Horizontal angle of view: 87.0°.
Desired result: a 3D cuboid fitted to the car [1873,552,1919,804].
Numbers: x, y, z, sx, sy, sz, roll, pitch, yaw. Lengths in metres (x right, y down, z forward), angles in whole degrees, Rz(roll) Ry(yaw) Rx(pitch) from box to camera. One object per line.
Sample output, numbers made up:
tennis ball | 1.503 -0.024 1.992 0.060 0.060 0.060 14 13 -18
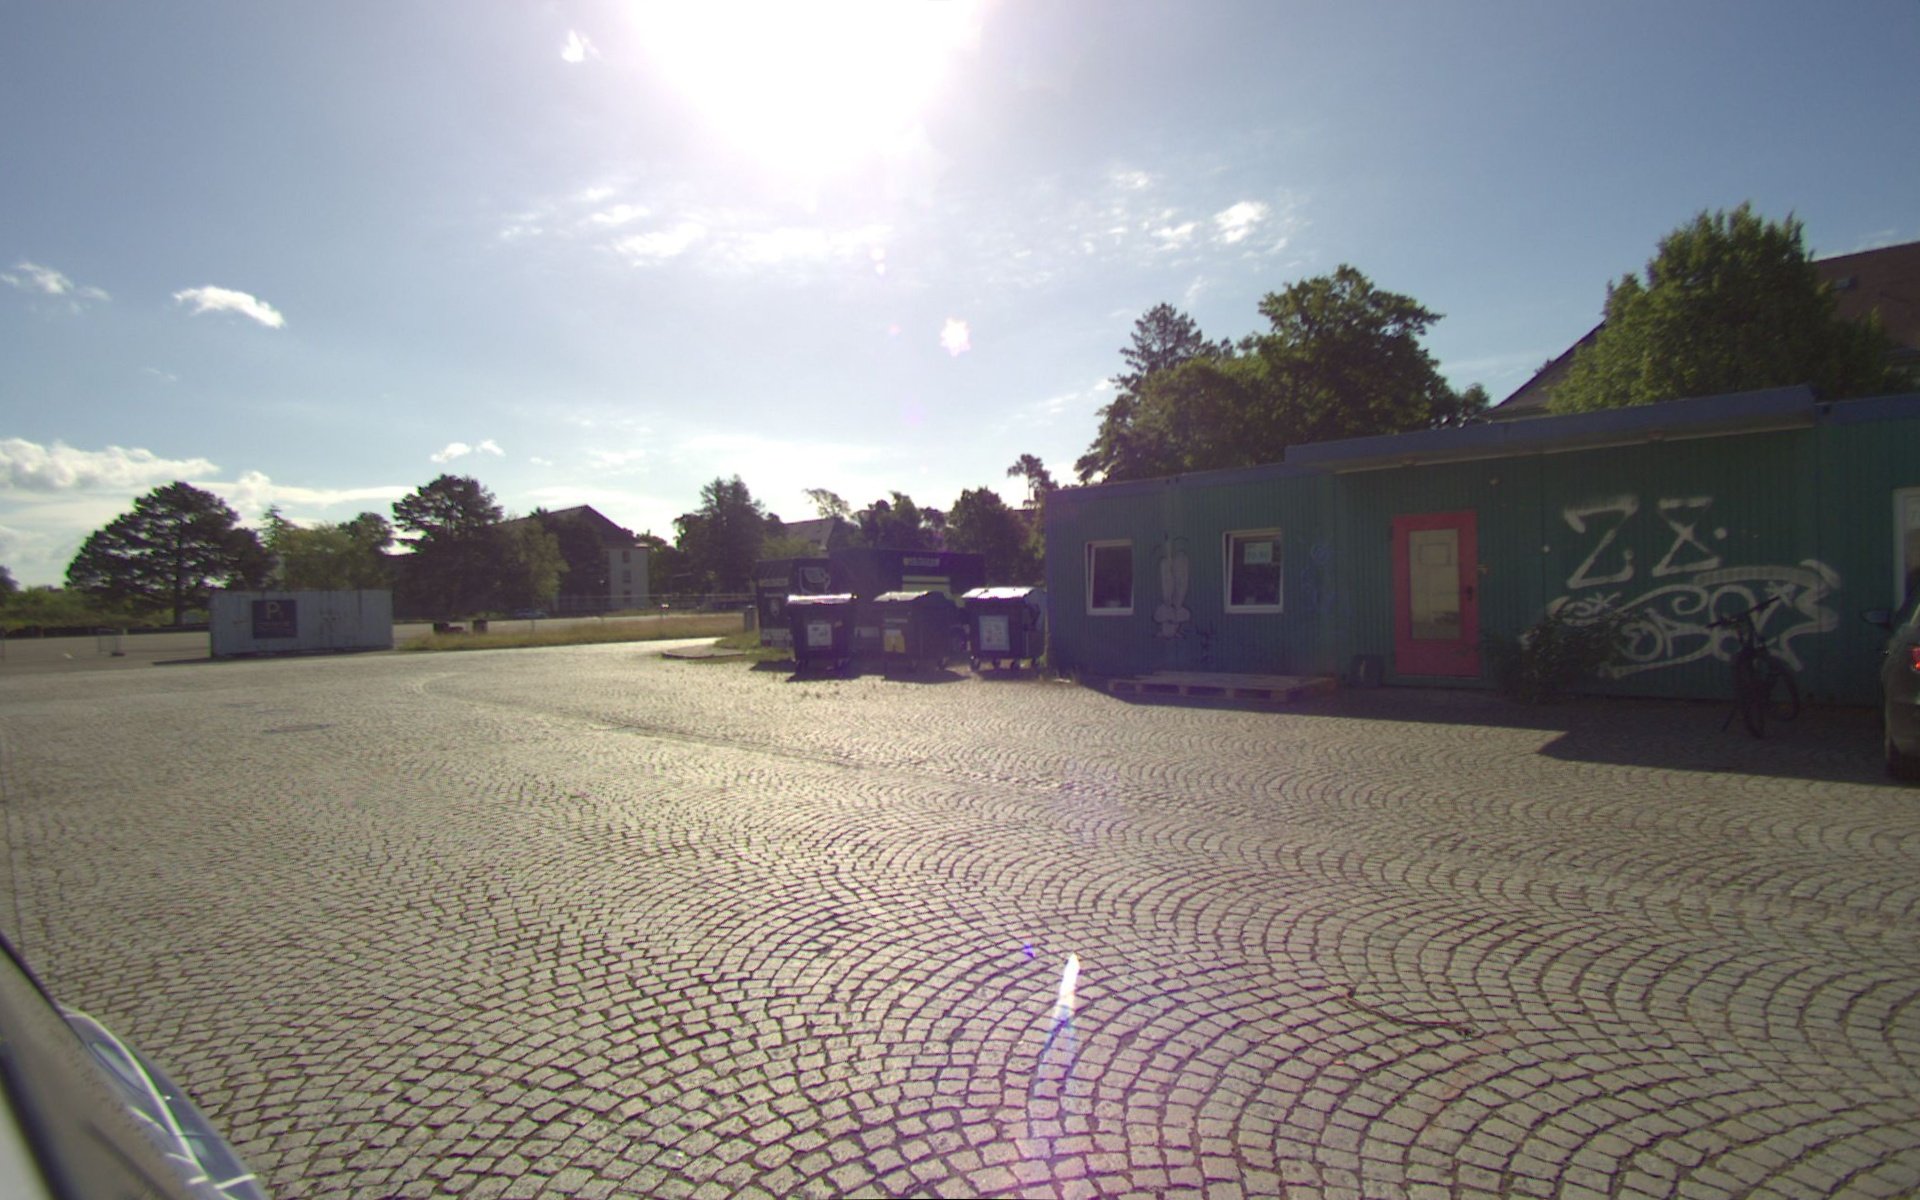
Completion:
car | 7.563 0.373 6.873 1.932 1.460 4.205 -1 1 43

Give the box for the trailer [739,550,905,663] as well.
trailer | -3.278 0.099 24.335 3.346 2.488 2.046 -3 1 -44

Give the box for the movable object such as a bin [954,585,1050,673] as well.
movable object such as a bin | 0.740 0.502 17.876 1.437 1.469 0.875 -1 1 35

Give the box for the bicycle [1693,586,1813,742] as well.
bicycle | 6.952 0.498 8.837 0.668 1.179 1.784 -1 1 43

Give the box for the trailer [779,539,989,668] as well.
trailer | -1.581 0.004 22.567 1.951 2.587 4.588 -1 1 41

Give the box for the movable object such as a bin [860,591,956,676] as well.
movable object such as a bin | -0.959 0.592 18.550 1.441 1.469 1.006 -1 1 45

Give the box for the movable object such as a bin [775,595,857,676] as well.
movable object such as a bin | -2.784 0.664 19.711 1.418 1.469 1.156 -2 1 -2
